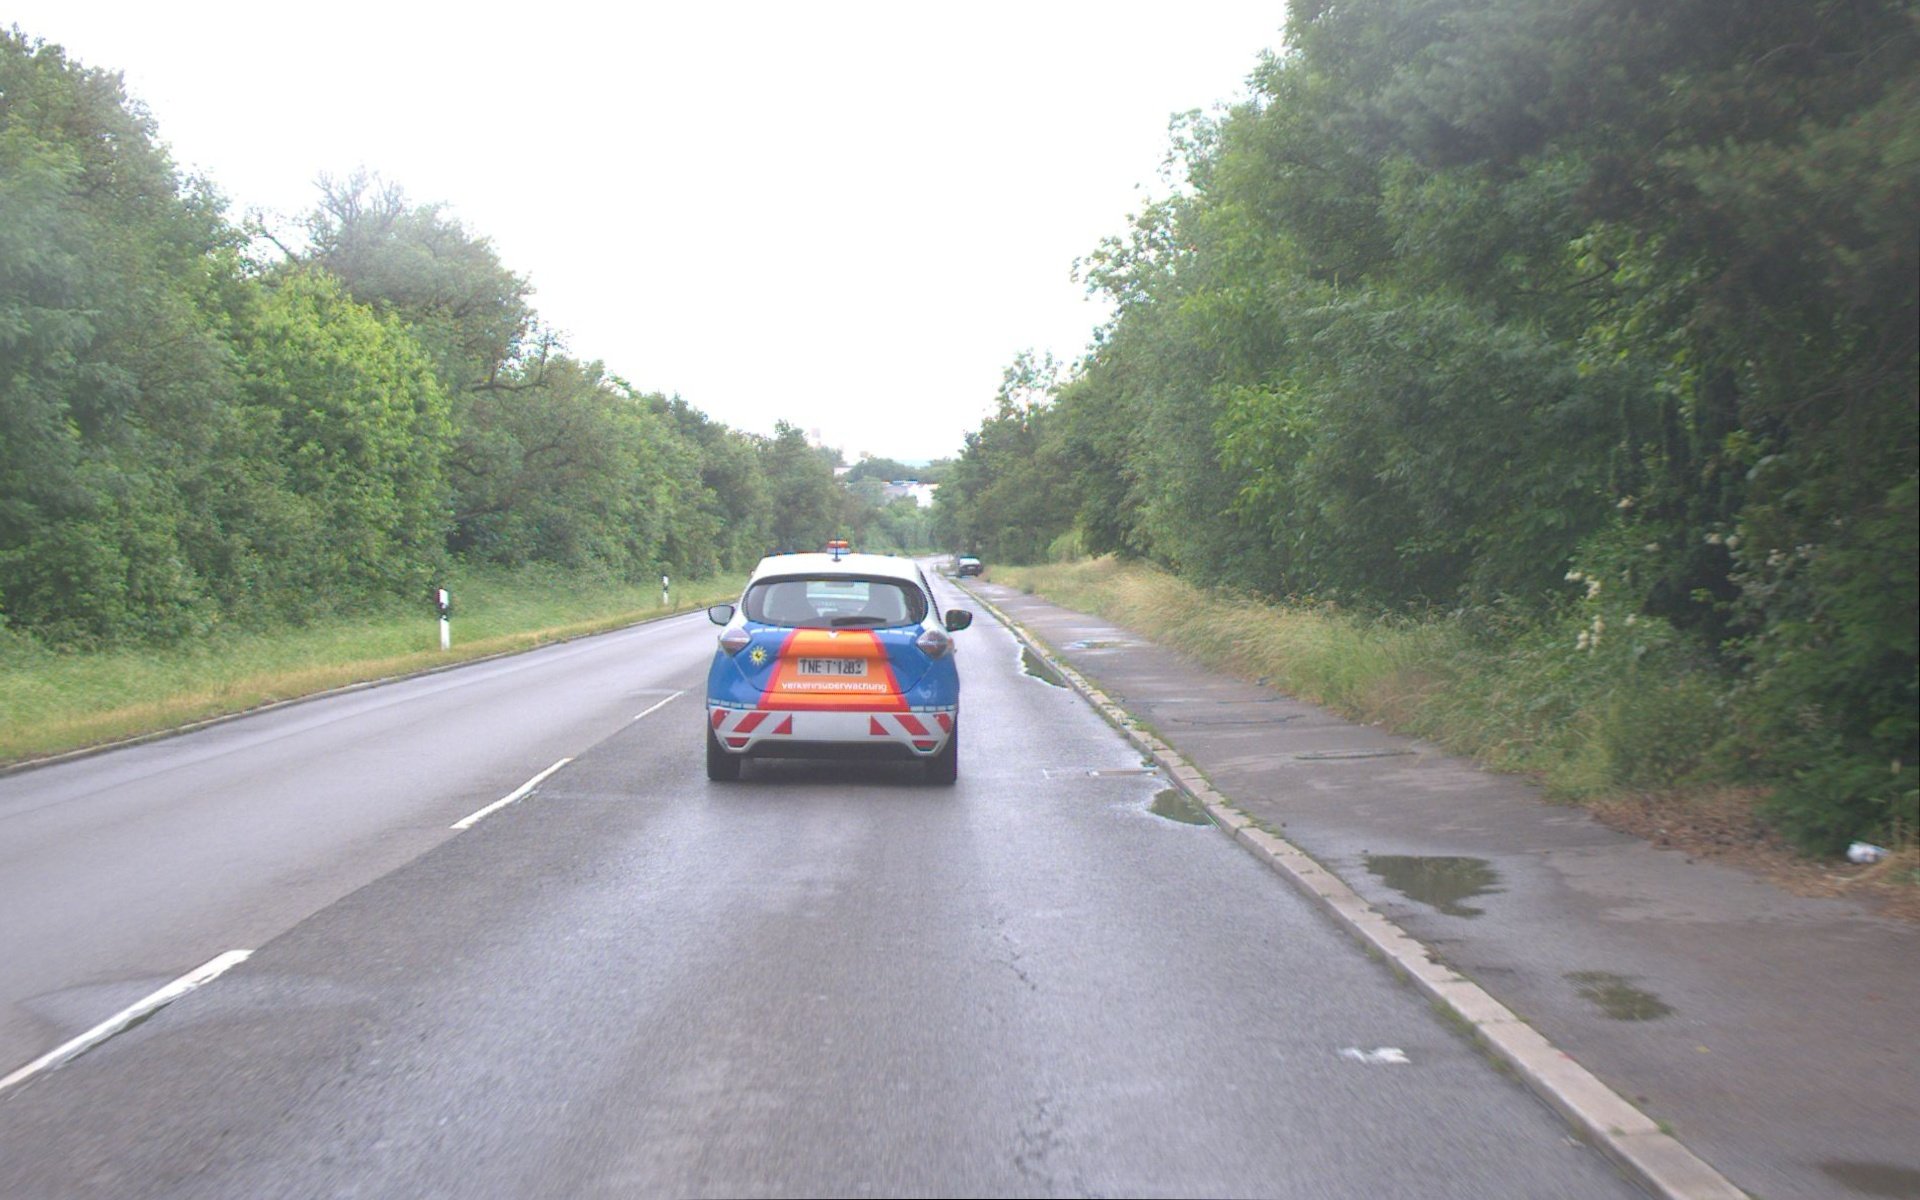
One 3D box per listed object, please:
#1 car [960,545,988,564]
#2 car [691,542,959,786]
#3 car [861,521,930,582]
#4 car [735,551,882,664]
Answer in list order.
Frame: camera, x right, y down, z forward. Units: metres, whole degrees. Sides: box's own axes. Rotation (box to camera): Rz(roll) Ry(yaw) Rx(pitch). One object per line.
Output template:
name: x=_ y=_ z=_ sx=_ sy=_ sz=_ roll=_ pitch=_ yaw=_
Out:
car: x=1.022 y=-3.360 z=255.419 sx=1.993 sy=1.371 sz=4.000 roll=-2 pitch=1 yaw=0
car: x=-0.908 y=0.389 z=24.385 sx=1.752 sy=1.550 sz=3.793 roll=0 pitch=2 yaw=-1
car: x=-1.903 y=-1.473 z=102.813 sx=1.941 sy=1.717 sz=4.063 roll=-2 pitch=1 yaw=0
car: x=-1.814 y=0.062 z=42.093 sx=1.598 sy=1.282 sz=3.476 roll=-2 pitch=1 yaw=0
